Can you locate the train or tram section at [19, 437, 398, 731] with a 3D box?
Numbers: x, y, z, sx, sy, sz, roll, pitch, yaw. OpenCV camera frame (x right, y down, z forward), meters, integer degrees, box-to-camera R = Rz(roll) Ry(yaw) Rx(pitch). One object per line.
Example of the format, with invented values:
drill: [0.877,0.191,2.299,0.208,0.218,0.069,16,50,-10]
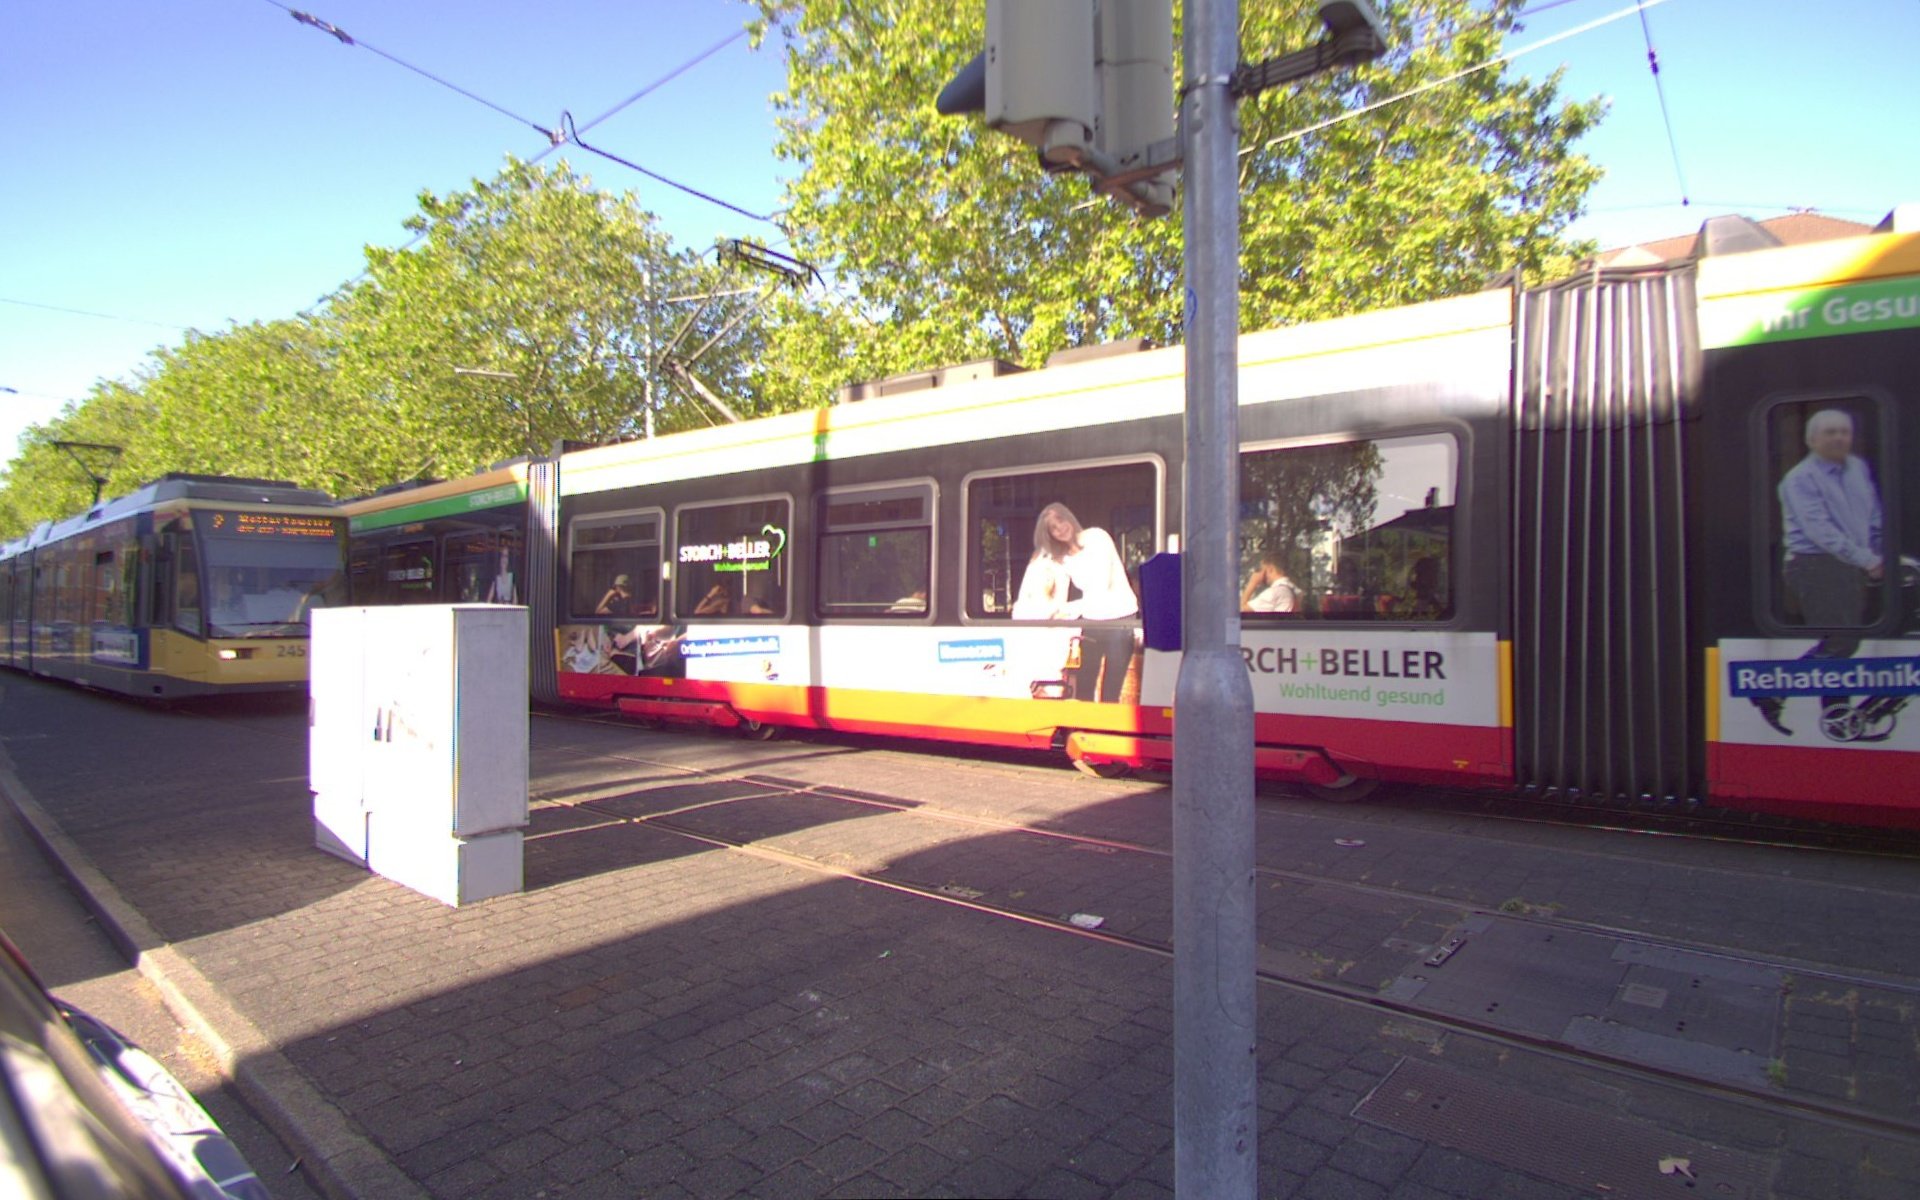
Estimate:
train or tram section: [-13.845,-0.093,17.877,12.646,3.692,2.683,-1,-1,41]

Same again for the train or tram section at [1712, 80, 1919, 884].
train or tram section: [10.157,-0.639,3.238,12.073,3.843,2.911,-1,-1,30]

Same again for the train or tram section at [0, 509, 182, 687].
train or tram section: [-23.373,0.077,26.145,12.646,3.692,2.683,-1,-1,41]

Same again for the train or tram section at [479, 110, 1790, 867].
train or tram section: [-0.108,-0.465,10.143,12.798,3.843,2.905,-1,-1,37]

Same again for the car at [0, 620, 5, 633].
car: [-133.947,3.671,140.451,3.748,1.798,1.674,-1,1,41]

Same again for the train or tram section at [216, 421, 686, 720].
train or tram section: [-9.990,-0.263,18.401,13.046,3.843,2.901,-1,-1,41]

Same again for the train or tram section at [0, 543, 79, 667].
train or tram section: [-32.917,0.255,34.432,12.646,3.692,2.683,-1,-1,41]
